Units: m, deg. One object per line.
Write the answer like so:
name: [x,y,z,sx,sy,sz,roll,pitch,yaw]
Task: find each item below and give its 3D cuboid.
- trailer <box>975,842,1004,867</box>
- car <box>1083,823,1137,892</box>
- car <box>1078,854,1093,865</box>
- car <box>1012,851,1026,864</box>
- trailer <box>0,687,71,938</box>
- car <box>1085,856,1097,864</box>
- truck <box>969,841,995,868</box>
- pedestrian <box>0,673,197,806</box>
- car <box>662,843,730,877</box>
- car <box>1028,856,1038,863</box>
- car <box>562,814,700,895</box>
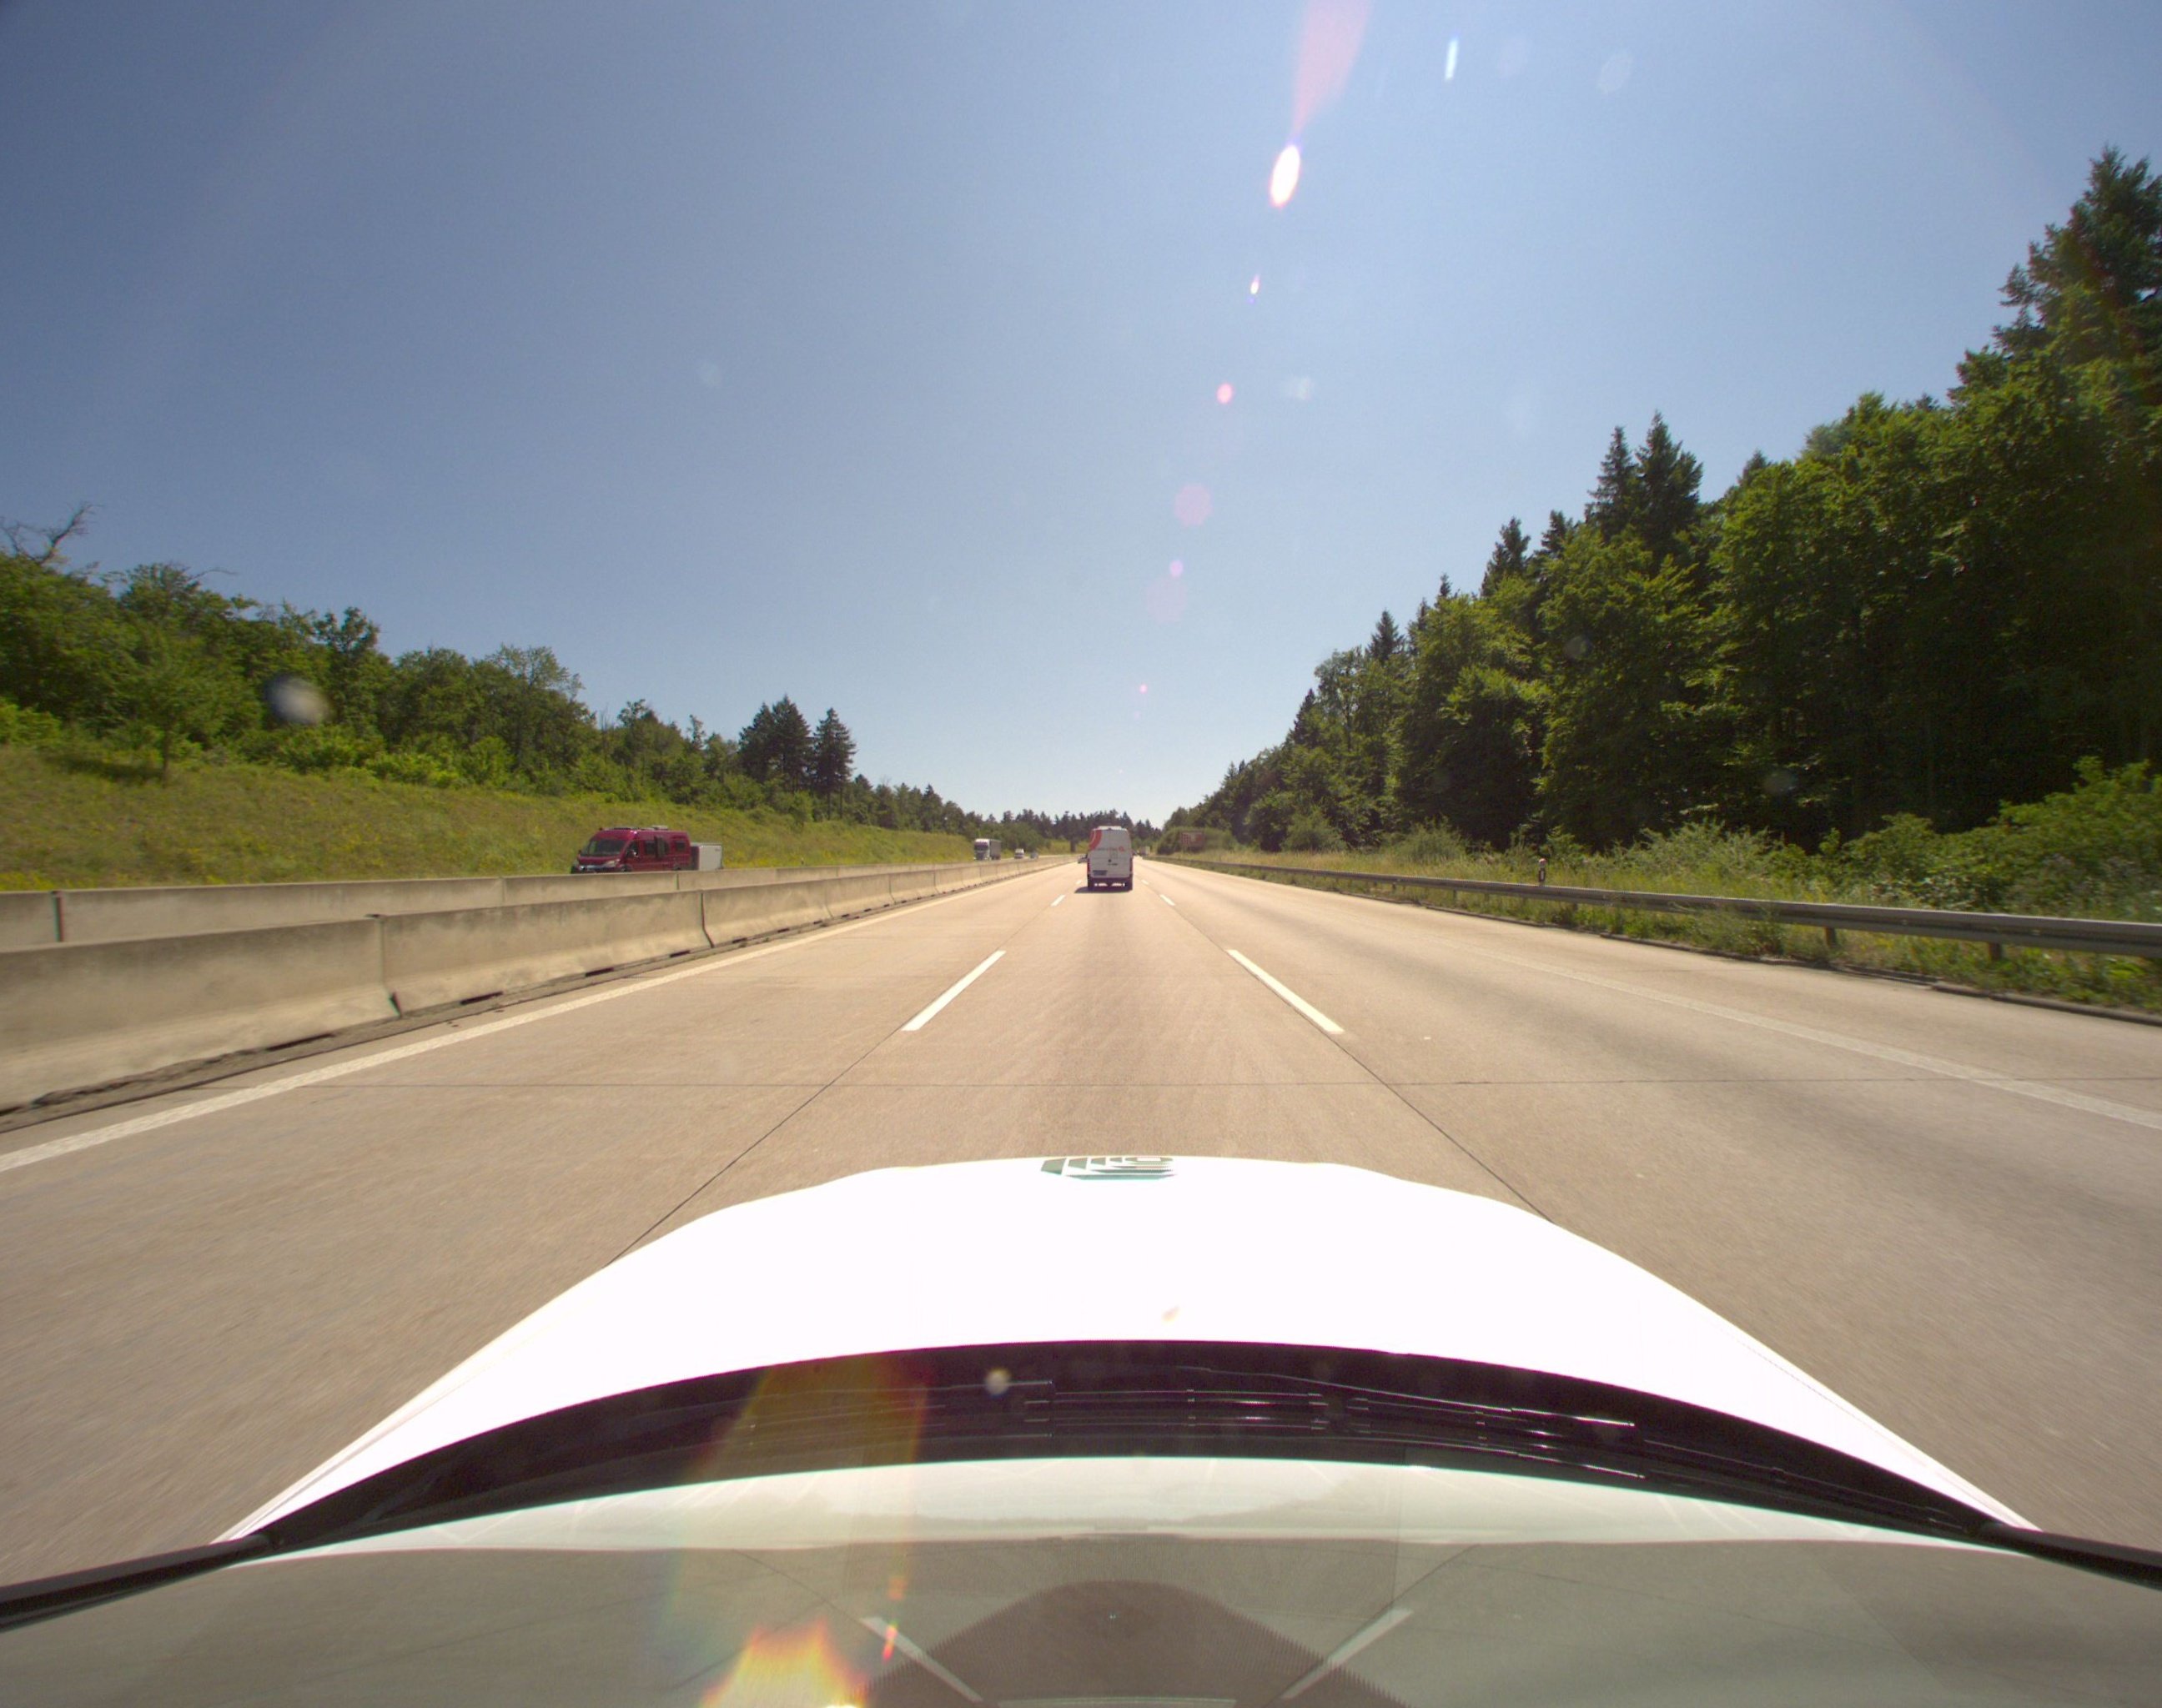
trailer: [-16.750,0.161,149.749,3.244,4.504,13.126,0,-1,2]
car: [1.282,0.130,36.398,2.218,2.844,5.456,0,0,2]
car: [0.729,0.853,124.251,1.983,1.684,4.006,0,-1,6]
car: [-12.222,0.696,160.780,1.986,2.486,5.182,0,0,2]
trailer: [-21.338,-0.813,8.804,3.244,4.504,13.746,0,-1,2]
car: [2.132,1.208,172.307,1.983,1.684,4.006,0,-1,6]
truck: [-17.116,0.096,141.586,3.244,4.504,7.989,0,-1,2]
pedestrian: [-18.964,-1.998,14.498,1.986,2.014,4.002,0,-1,2]
car: [-19.640,0.329,41.683,1.608,1.600,3.578,-2,-1,2]
car: [-10.754,1.247,182.711,1.986,1.583,4.044,-1,0,2]
car: [-19.680,0.043,36.146,1.986,3.241,7.063,0,0,2]
